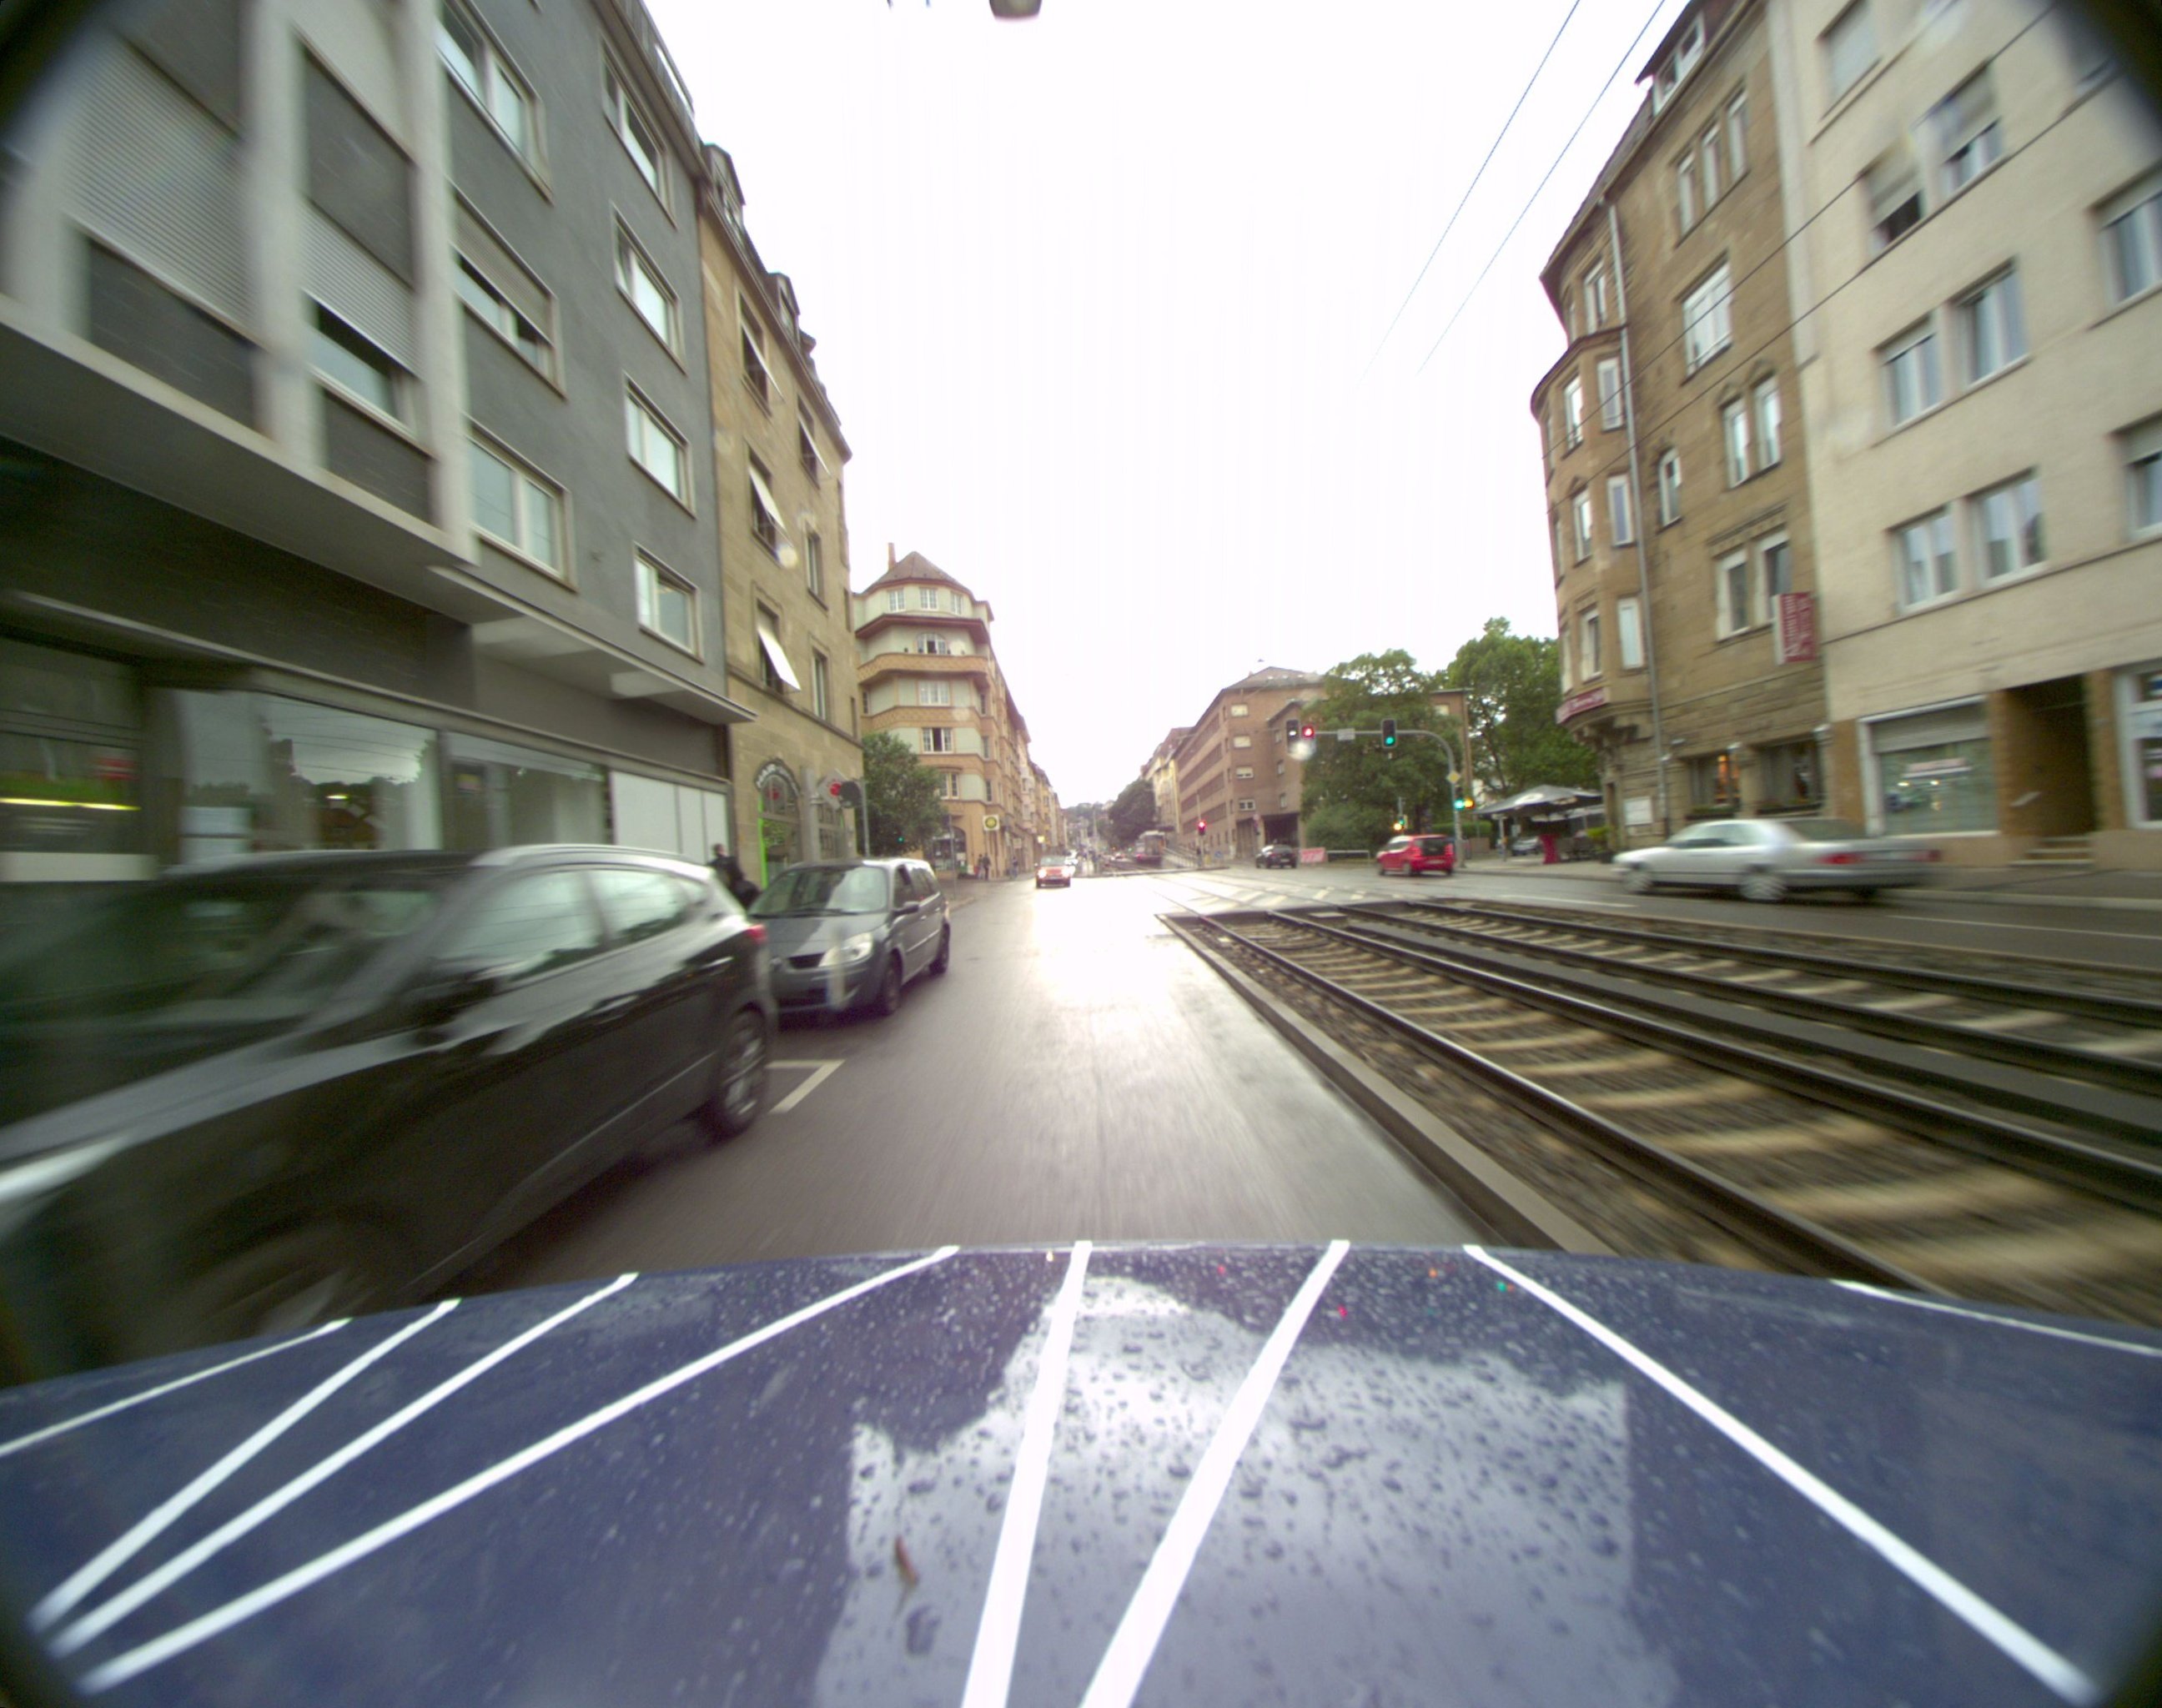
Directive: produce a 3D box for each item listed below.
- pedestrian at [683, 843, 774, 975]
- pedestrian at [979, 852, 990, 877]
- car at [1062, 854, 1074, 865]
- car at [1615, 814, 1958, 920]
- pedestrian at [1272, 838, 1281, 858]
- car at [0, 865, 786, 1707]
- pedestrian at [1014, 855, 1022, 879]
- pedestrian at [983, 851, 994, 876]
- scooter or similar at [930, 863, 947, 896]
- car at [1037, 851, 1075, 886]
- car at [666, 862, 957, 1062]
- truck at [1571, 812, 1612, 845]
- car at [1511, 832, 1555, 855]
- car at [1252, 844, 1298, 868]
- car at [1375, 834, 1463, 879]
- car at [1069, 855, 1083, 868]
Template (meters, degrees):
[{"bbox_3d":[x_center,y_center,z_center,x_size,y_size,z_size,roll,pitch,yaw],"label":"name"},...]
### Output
[{"bbox_3d":[-5.055,0.762,10.951,0.852,1.807,0.847,-1,1,0],"label":"pedestrian"},{"bbox_3d":[-6.185,0.677,48.663,0.579,1.563,0.397,-3,1,0],"label":"pedestrian"},{"bbox_3d":[-2.610,0.978,149.657,2.135,2.002,4.328,-3,0,0],"label":"car"},{"bbox_3d":[11.835,0.173,13.310,1.717,1.452,4.643,-3,0,1],"label":"car"},{"bbox_3d":[16.879,-0.539,65.681,0.623,1.736,0.464,-1,1,-3],"label":"pedestrian"},{"bbox_3d":[-2.828,0.925,2.749,1.822,1.645,4.250,-1,0,0],"label":"car"},{"bbox_3d":[-4.324,0.908,52.368,0.437,1.643,0.579,-3,1,-1],"label":"pedestrian"},{"bbox_3d":[-5.894,0.603,48.293,0.579,1.563,0.438,-3,1,-1],"label":"pedestrian"},{"bbox_3d":[-5.503,0.971,29.365,0.423,1.171,1.454,-3,1,-5],"label":"scooter or similar"},{"bbox_3d":[-1.186,0.674,37.529,1.683,1.531,4.018,-2,0,0],"label":"car"},{"bbox_3d":[-2.676,0.954,8.778,1.715,1.604,4.518,-1,0,0],"label":"car"},{"bbox_3d":[49.122,-2.491,73.020,2.699,2.900,6.813,-3,1,38],"label":"truck"},{"bbox_3d":[35.739,-0.830,60.017,4.007,1.635,1.834,-3,1,-41],"label":"car"},{"bbox_3d":[11.866,0.129,46.751,1.781,1.328,3.945,-3,0,0],"label":"car"},{"bbox_3d":[12.113,0.090,27.449,1.631,1.442,3.387,-3,0,0],"label":"car"},{"bbox_3d":[-0.863,1.189,125.657,2.135,2.002,4.328,-3,0,0],"label":"car"}]
